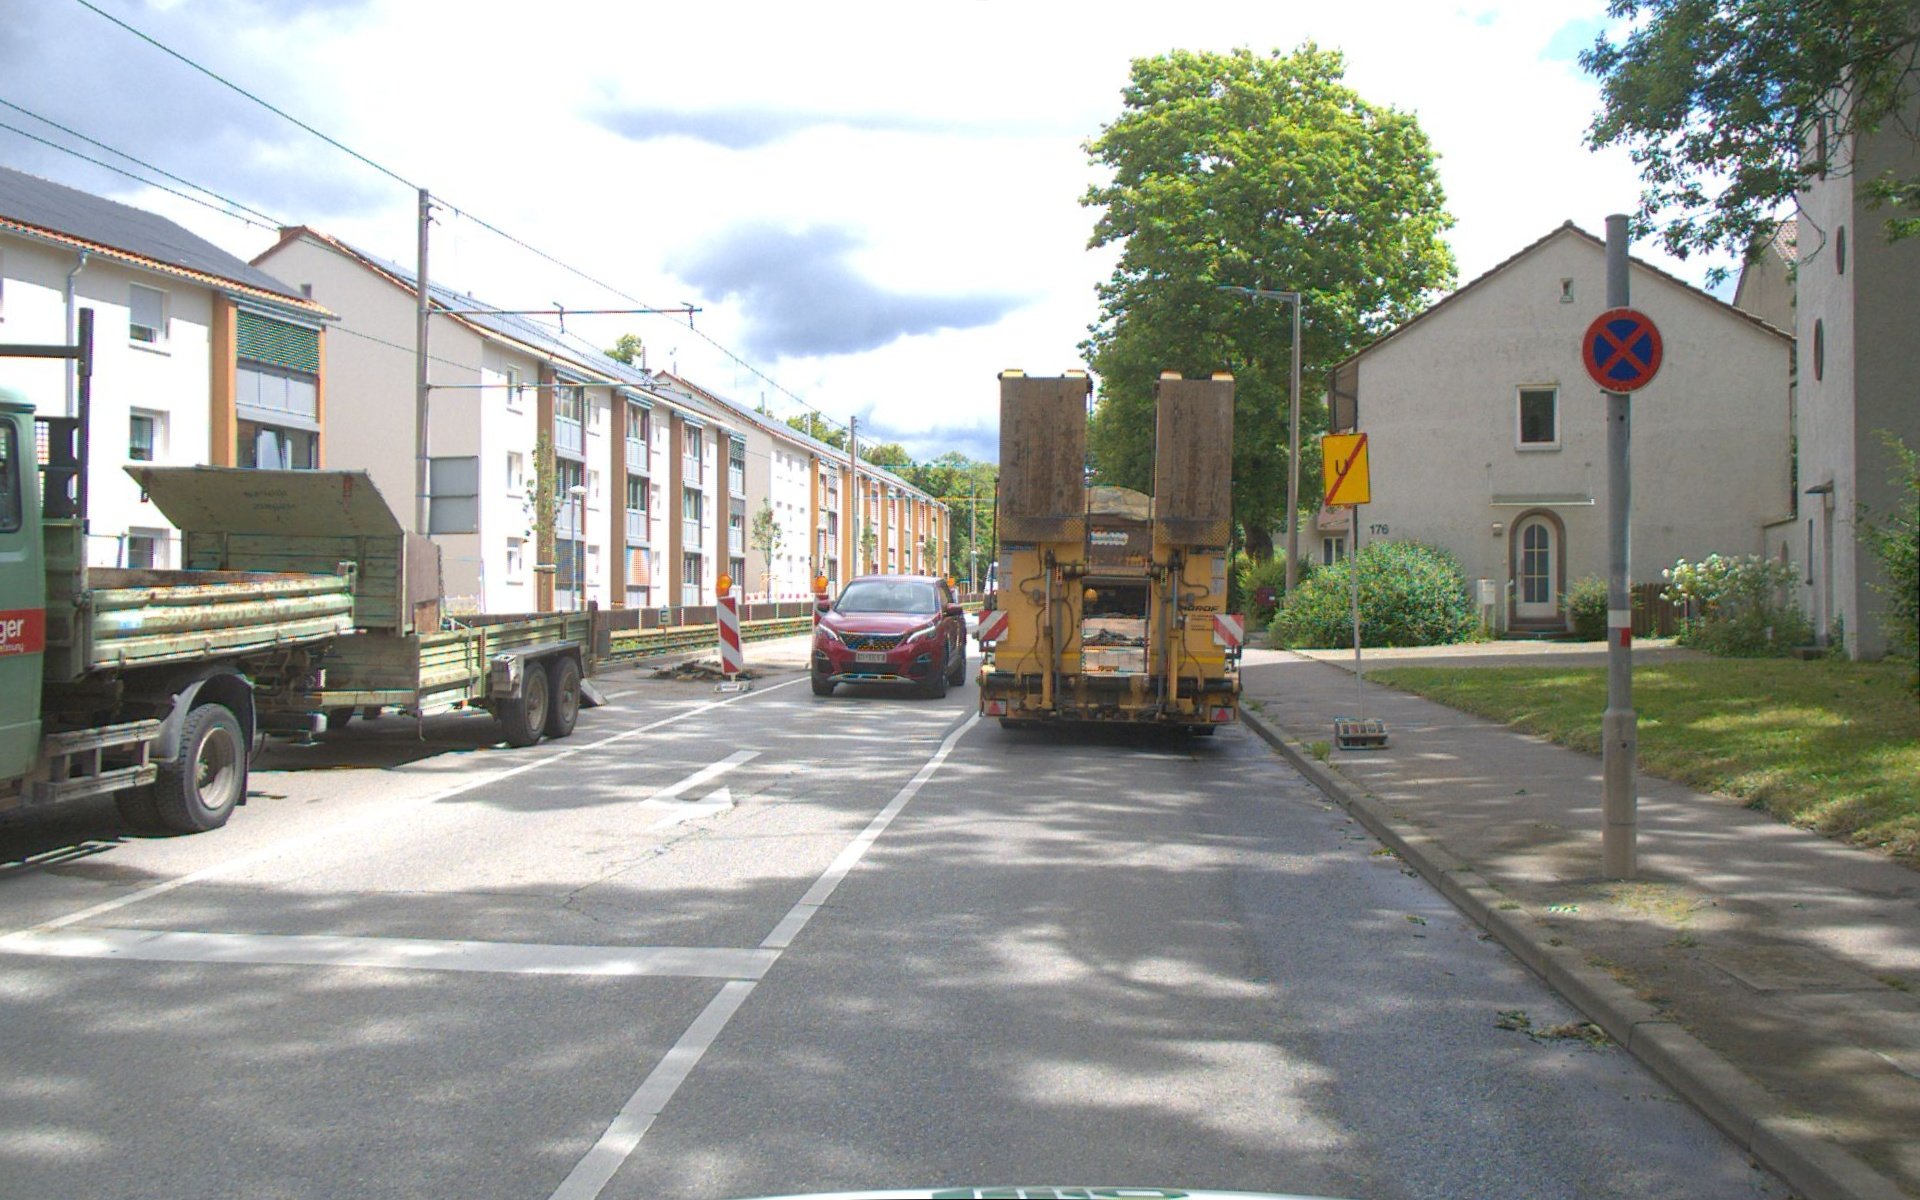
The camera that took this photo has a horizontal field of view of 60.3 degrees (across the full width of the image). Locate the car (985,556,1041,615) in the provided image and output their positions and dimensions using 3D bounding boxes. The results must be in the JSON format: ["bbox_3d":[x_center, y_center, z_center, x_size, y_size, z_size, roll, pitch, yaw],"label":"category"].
[{"bbox_3d":[2.419,-0.648,73.970,1.951,2.473,6.326,1,1,6],"label":"car"}]

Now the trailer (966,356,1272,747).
[{"bbox_3d":[1.840,-0.506,21.012,2.763,3.585,11.057,2,1,4],"label":"trailer"}]

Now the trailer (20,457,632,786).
[{"bbox_3d":[-5.075,0.124,14.689,2.606,2.252,6.251,1,0,4],"label":"trailer"}]

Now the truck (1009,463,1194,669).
[{"bbox_3d":[2.494,-0.590,30.362,2.856,3.222,7.684,2,1,3],"label":"truck"}]

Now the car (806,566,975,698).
[{"bbox_3d":[-0.877,0.402,23.402,1.804,1.646,4.245,1,0,5],"label":"car"}]

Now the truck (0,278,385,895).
[{"bbox_3d":[-5.551,-0.084,8.360,2.606,2.773,6.399,1,0,4],"label":"truck"}]
